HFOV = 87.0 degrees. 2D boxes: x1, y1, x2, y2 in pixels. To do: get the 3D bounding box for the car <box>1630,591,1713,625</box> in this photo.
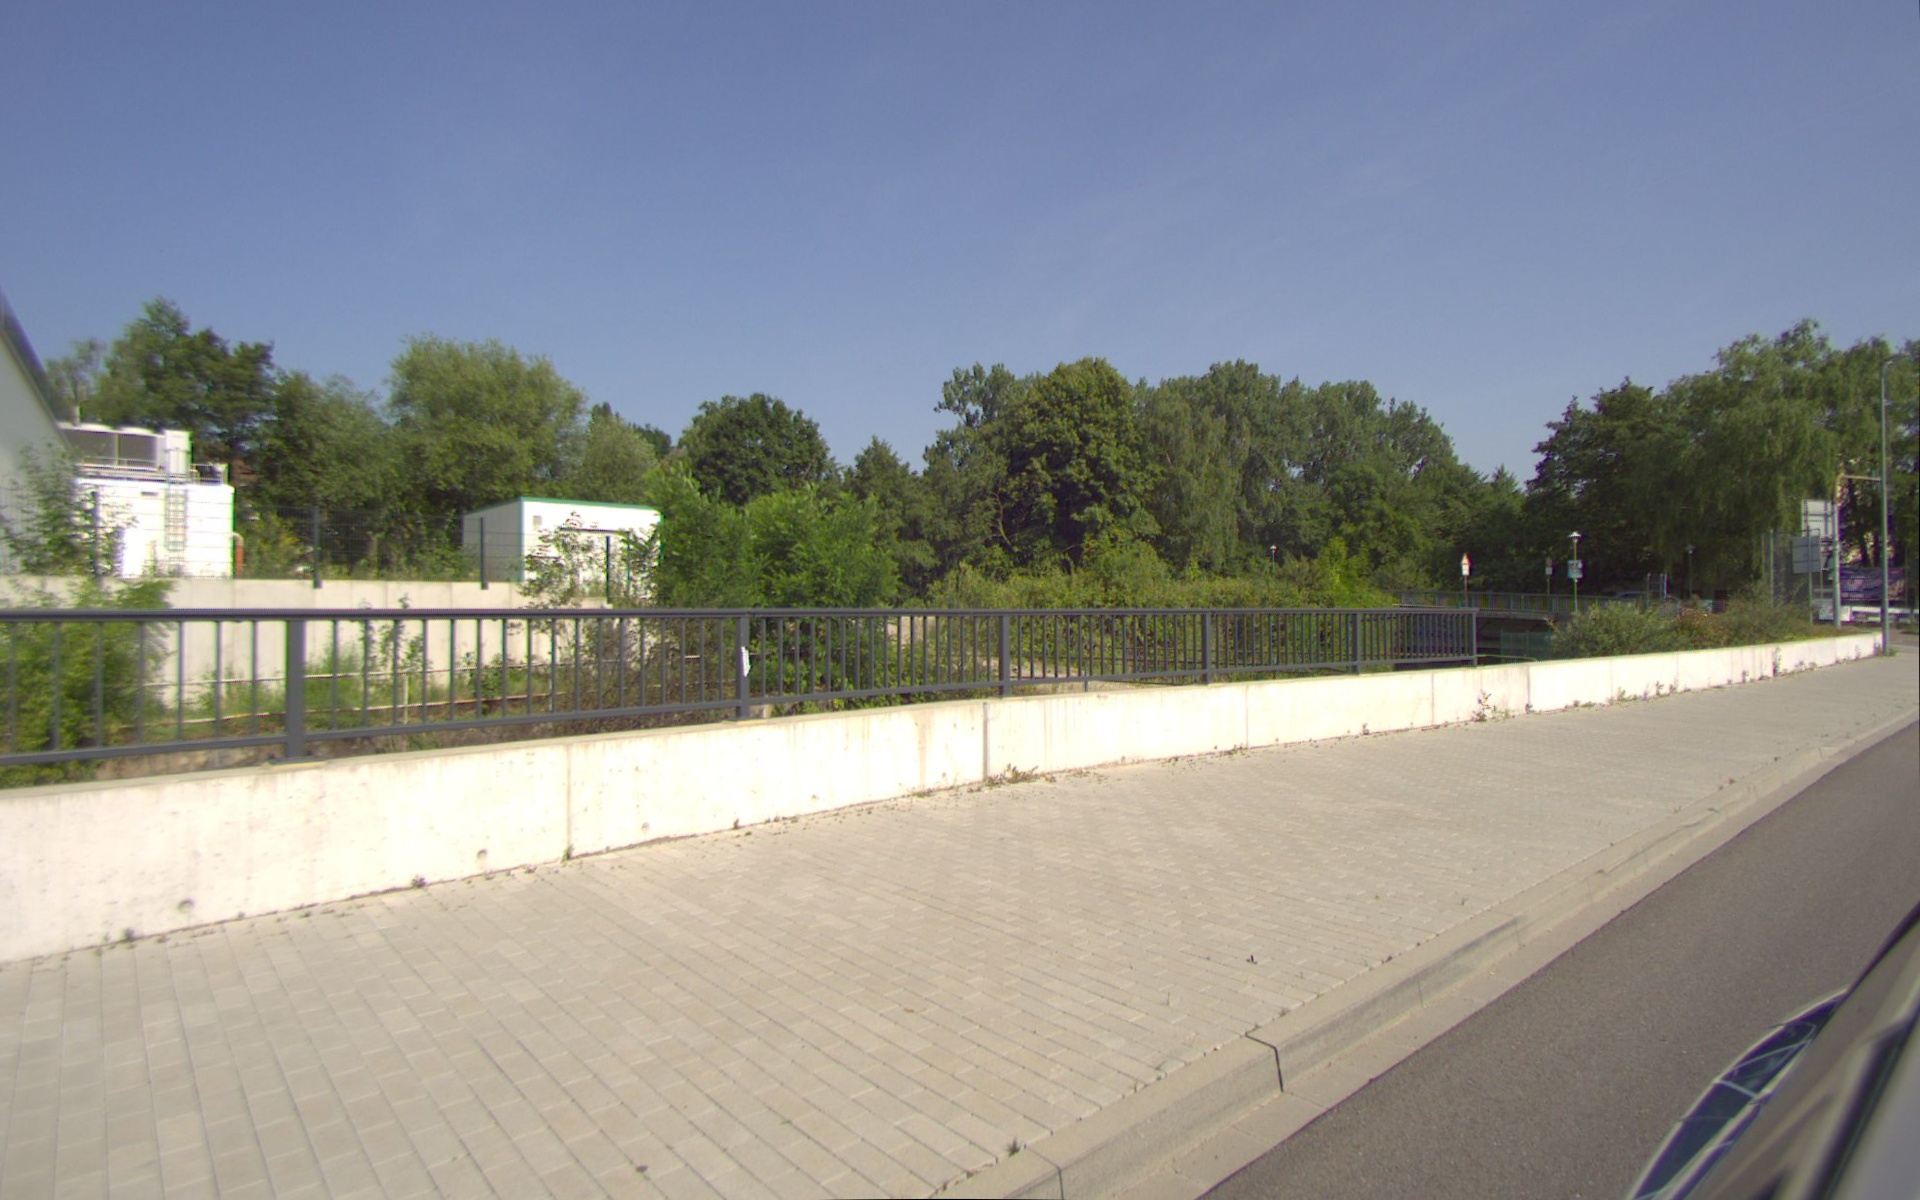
[{"bbox_3d":[35.592,0.355,50.747,1.639,1.537,4.077,1,2,8],"label":"car"}]
